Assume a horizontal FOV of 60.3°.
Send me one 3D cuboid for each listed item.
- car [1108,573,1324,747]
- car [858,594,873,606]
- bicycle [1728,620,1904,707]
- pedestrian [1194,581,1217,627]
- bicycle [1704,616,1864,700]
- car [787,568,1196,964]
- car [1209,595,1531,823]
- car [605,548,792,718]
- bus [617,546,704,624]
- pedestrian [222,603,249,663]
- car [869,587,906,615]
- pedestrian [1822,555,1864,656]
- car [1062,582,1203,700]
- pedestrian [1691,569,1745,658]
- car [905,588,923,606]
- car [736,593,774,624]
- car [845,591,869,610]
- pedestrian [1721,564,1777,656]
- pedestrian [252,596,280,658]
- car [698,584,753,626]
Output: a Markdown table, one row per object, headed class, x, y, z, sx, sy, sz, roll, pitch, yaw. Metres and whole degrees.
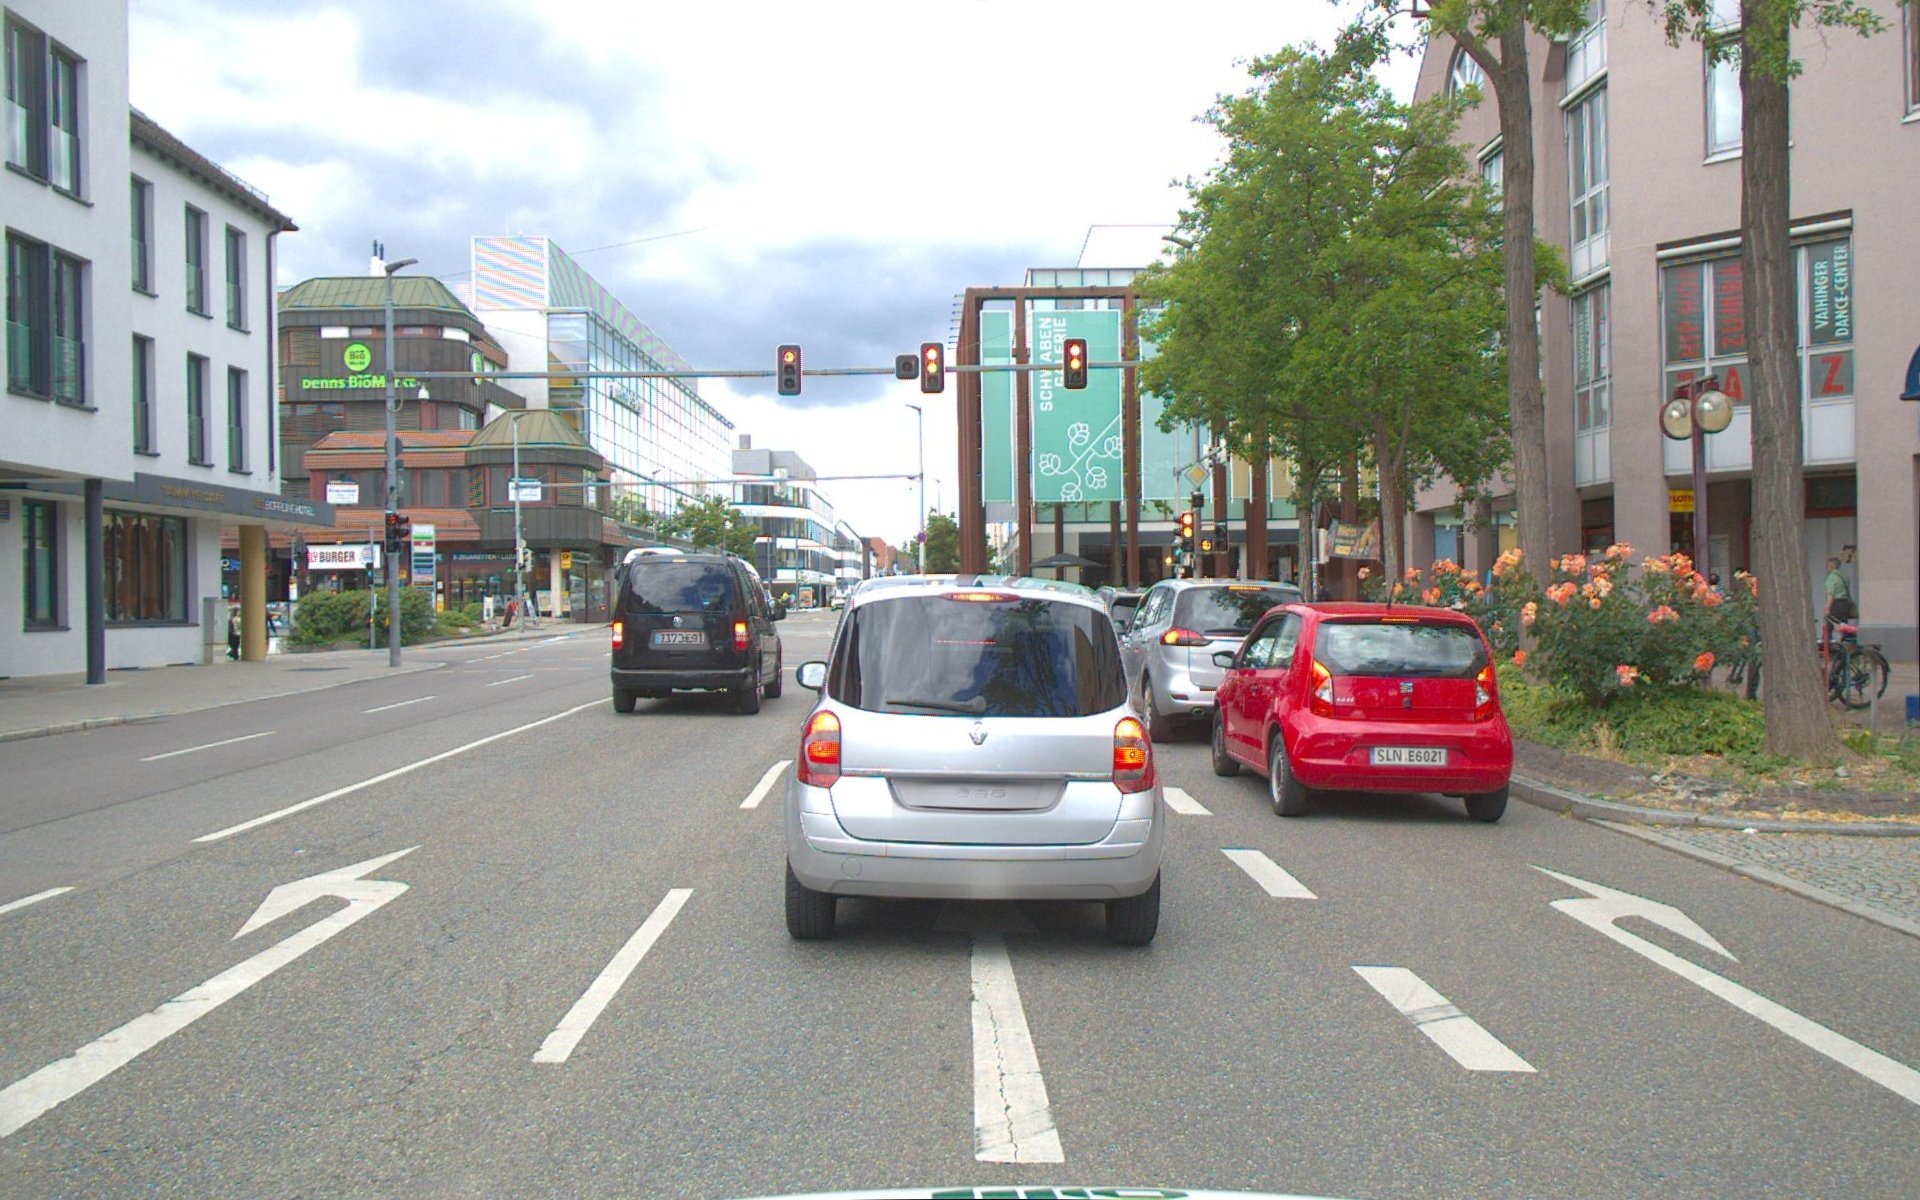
| class | x | y | z | sx | sy | sz | roll | pitch | yaw |
| --- | --- | --- | --- | --- | --- | --- | --- | --- | --- |
| car | 2.663 | 0.574 | 18.016 | 1.555 | 1.662 | 3.914 | 1 | 0 | -3 |
| car | -12.752 | -0.056 | 223.777 | 1.764 | 1.567 | 4.065 | 0 | 0 | 0 |
| bicycle | 10.344 | 0.760 | 20.022 | 1.861 | 1.014 | 0.468 | -1 | 0 | 3 |
| pedestrian | 9.011 | 0.153 | 60.763 | 0.641 | 1.679 | 0.557 | -1 | 0 | -15 |
| bicycle | 10.237 | 0.721 | 20.574 | 1.731 | 1.014 | 0.447 | -1 | 0 | 3 |
| car | 0.096 | 0.649 | 8.234 | 1.606 | 1.554 | 3.393 | 1 | 0 | -1 |
| car | 2.964 | 0.718 | 12.609 | 1.554 | 1.468 | 3.348 | 1 | 0 | -1 |
| car | -3.191 | 0.361 | 21.024 | 1.709 | 1.887 | 4.633 | 1 | 0 | -1 |
| bus | -13.453 | -0.690 | 74.996 | 2.633 | 3.318 | 8.650 | 0 | 0 | -2 |
| pedestrian | -20.695 | 0.929 | 47.265 | 0.653 | 1.678 | 0.788 | -1 | 0 | -22 |
| car | -4.529 | 0.044 | 104.349 | 1.877 | 1.706 | 4.244 | 0 | 0 | 4 |
| pedestrian | 15.104 | 0.095 | 28.302 | 0.624 | 1.706 | 0.588 | 0 | 0 | 28 |
| car | 2.551 | 0.565 | 25.220 | 1.555 | 1.623 | 3.866 | 1 | 0 | -3 |
| pedestrian | 13.206 | 0.229 | 28.823 | 0.601 | 1.542 | 0.617 | 0 | 0 | -23 |
| car | -5.043 | -0.346 | 182.104 | 1.953 | 1.983 | 4.949 | 0 | 0 | -2 |
| car | -9.882 | 0.394 | 79.762 | 1.524 | 1.417 | 3.286 | 0 | 0 | -2 |
| car | -8.830 | 0.019 | 142.301 | 1.764 | 1.567 | 4.065 | 0 | 0 | 0 |
| pedestrian | 13.891 | 0.171 | 29.137 | 0.653 | 1.591 | 0.617 | 0 | 0 | -23 |
| pedestrian | -19.272 | 0.739 | 45.950 | 0.693 | 1.687 | 0.934 | -1 | 0 | -22 |
| car | -10.201 | 0.201 | 72.178 | 1.953 | 1.735 | 4.063 | 0 | 0 | -2 |
